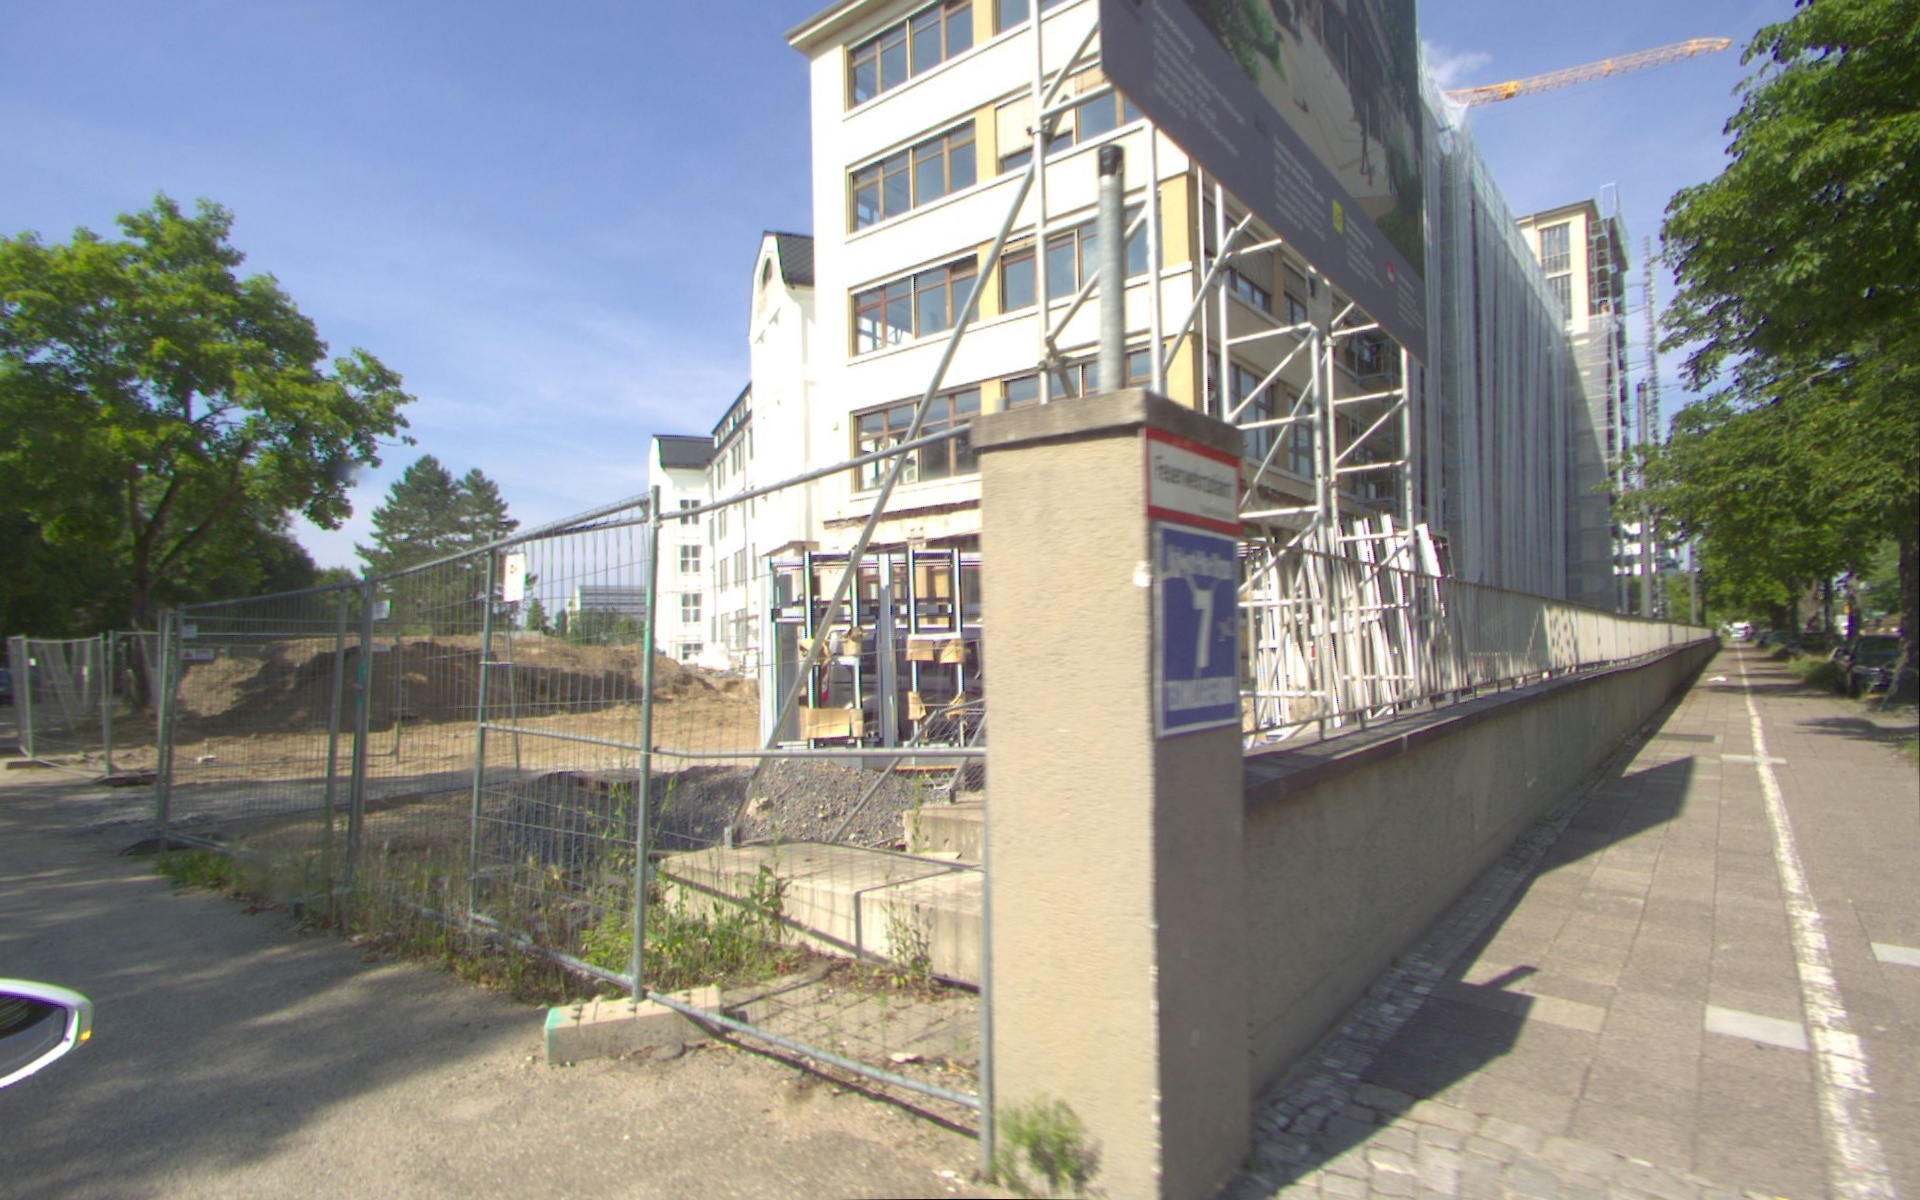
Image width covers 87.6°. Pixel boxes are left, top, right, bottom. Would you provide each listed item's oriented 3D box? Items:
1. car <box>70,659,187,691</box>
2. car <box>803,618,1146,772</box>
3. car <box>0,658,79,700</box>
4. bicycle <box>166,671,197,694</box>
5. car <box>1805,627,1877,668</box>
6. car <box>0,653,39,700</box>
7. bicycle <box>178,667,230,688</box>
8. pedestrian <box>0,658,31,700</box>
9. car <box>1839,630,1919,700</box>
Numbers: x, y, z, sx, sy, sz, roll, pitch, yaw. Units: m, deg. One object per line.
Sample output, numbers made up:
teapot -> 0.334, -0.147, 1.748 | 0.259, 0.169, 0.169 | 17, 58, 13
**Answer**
car -> -42.624, 3.824, 51.461 | 4.234, 1.543, 1.886 | 0, -2, -26
car -> 0.153, 1.242, 13.411 | 4.228, 1.802, 1.924 | -1, -4, -2
car -> -38.627, 3.164, 40.193 | 4.609, 1.605, 1.988 | 1, -2, -33
bicycle -> -46.321, 4.910, 59.620 | 0.806, 1.300, 2.676 | 0, -3, -24
car -> 34.026, 1.803, 38.757 | 1.977, 1.498, 4.322 | -3, -3, 40
car -> -35.653, 2.697, 35.121 | 4.609, 1.605, 1.988 | 1, -2, -33
bicycle -> -49.301, 5.036, 65.329 | 2.646, 1.300, 0.815 | 1, -2, -31
pedestrian -> -37.240, 3.087, 39.363 | 0.915, 1.615, 0.781 | 1, -1, -32
car -> 21.803, 1.457, 23.258 | 1.977, 1.498, 4.322 | -3, -3, 40
